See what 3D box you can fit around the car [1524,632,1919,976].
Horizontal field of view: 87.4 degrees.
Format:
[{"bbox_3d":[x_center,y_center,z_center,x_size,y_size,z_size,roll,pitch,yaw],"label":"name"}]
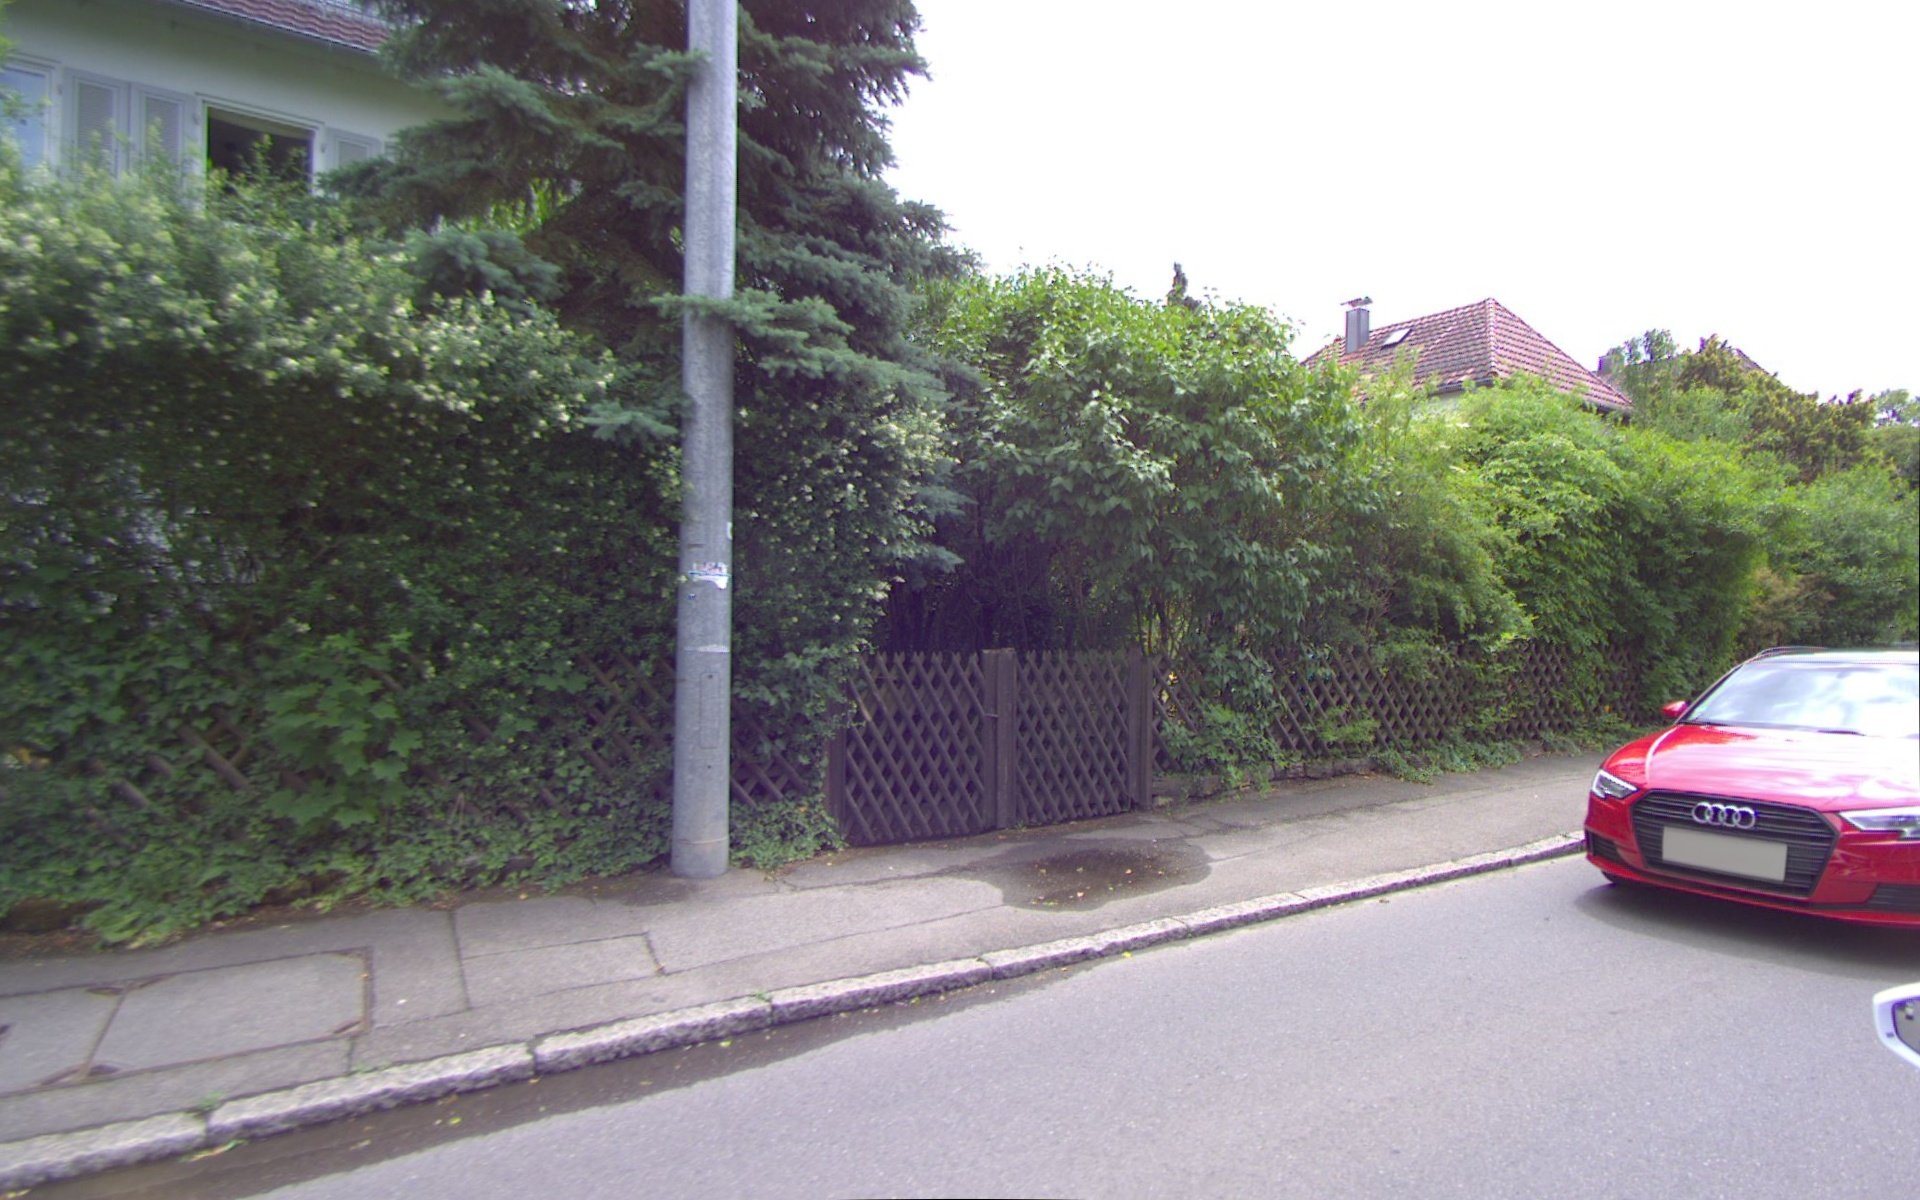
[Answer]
[{"bbox_3d":[5.369,0.954,6.018,4.074,1.450,1.795,2,-3,-33],"label":"car"}]
